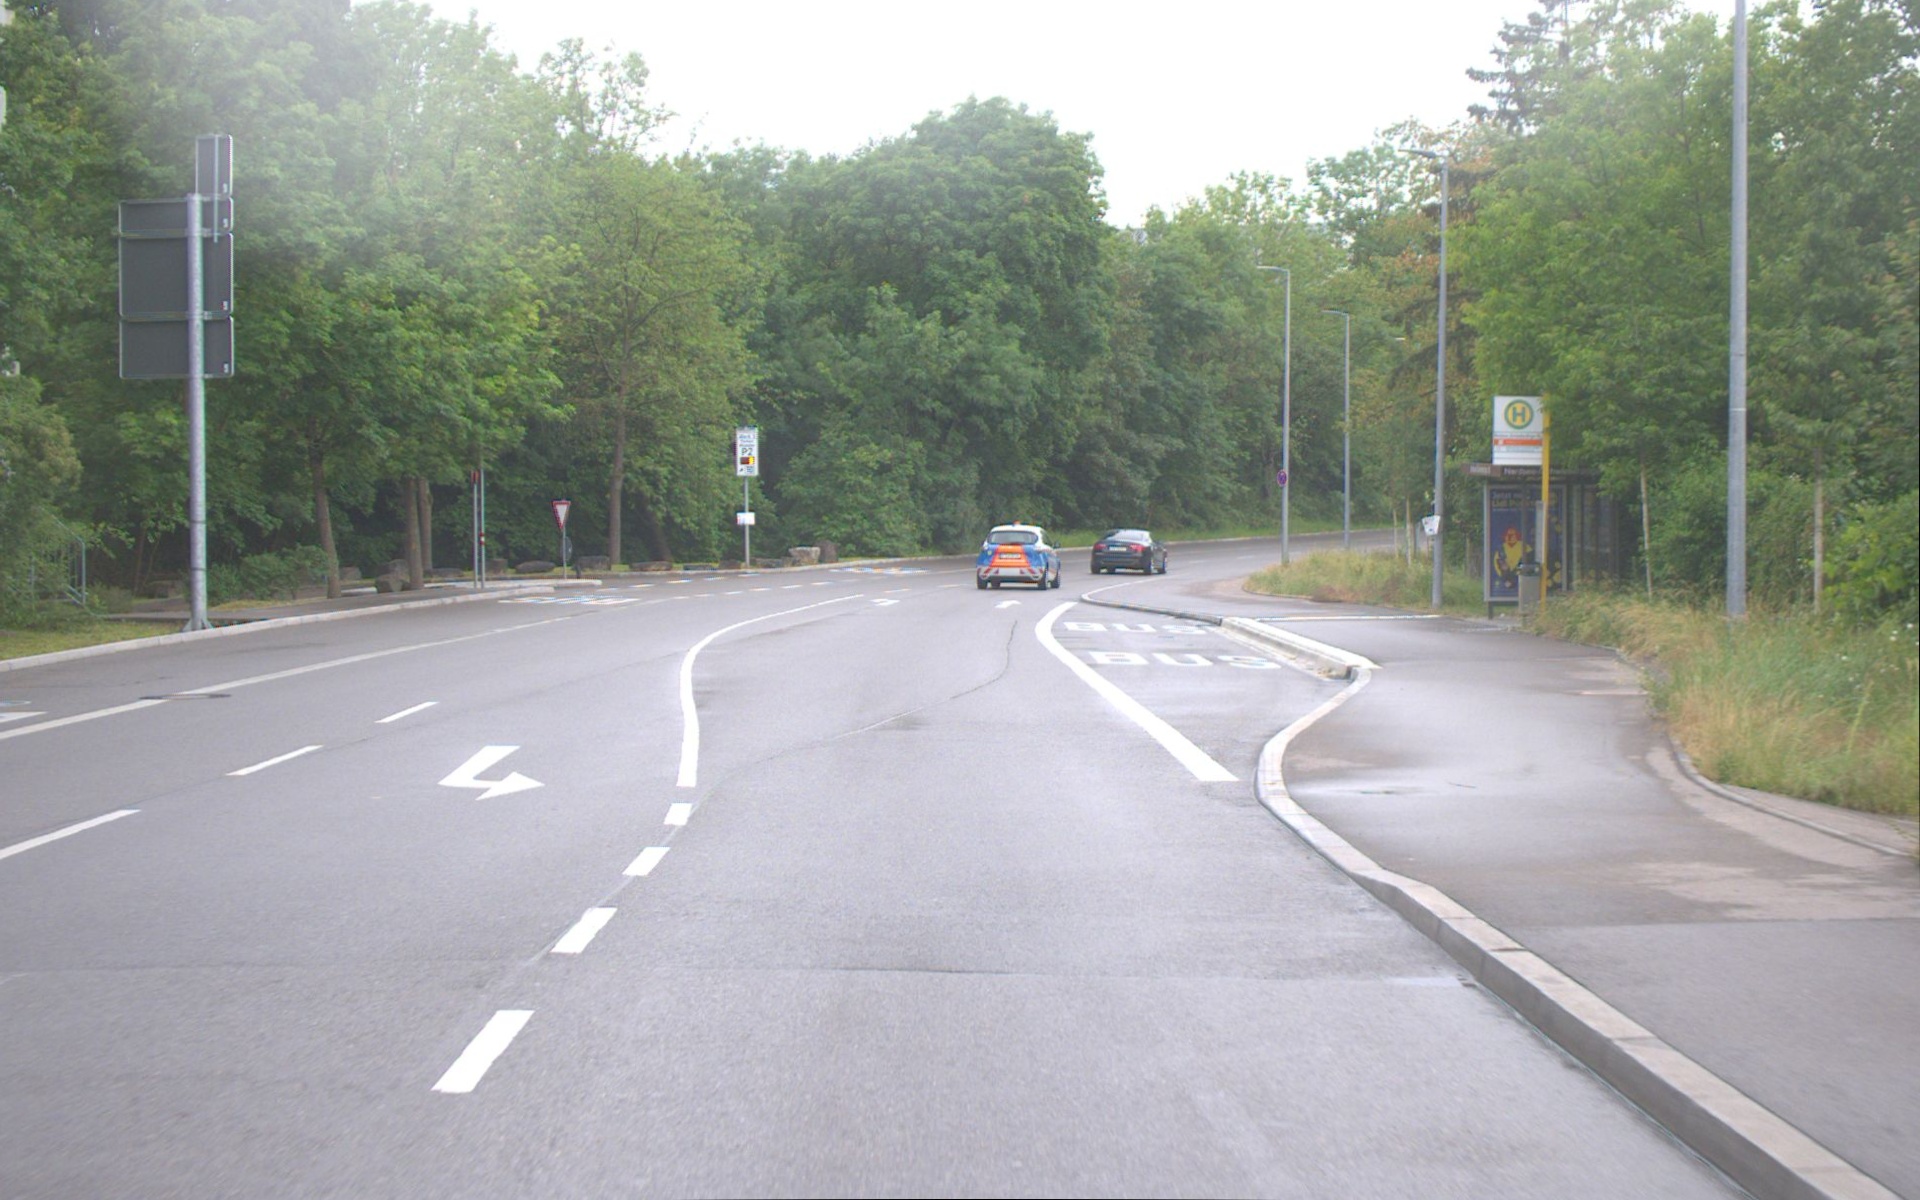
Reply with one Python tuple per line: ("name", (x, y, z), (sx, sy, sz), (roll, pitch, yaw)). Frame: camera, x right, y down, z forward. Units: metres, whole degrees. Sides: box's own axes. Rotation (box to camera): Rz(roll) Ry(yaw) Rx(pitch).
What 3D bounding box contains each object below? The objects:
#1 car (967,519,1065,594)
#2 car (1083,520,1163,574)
("car", (1.409, -1.093, 84.762), (1.994, 1.683, 4.000), (-1, 3, 7))
("car", (4.979, -1.636, 104.839), (1.928, 1.481, 3.798), (0, 3, 10))
